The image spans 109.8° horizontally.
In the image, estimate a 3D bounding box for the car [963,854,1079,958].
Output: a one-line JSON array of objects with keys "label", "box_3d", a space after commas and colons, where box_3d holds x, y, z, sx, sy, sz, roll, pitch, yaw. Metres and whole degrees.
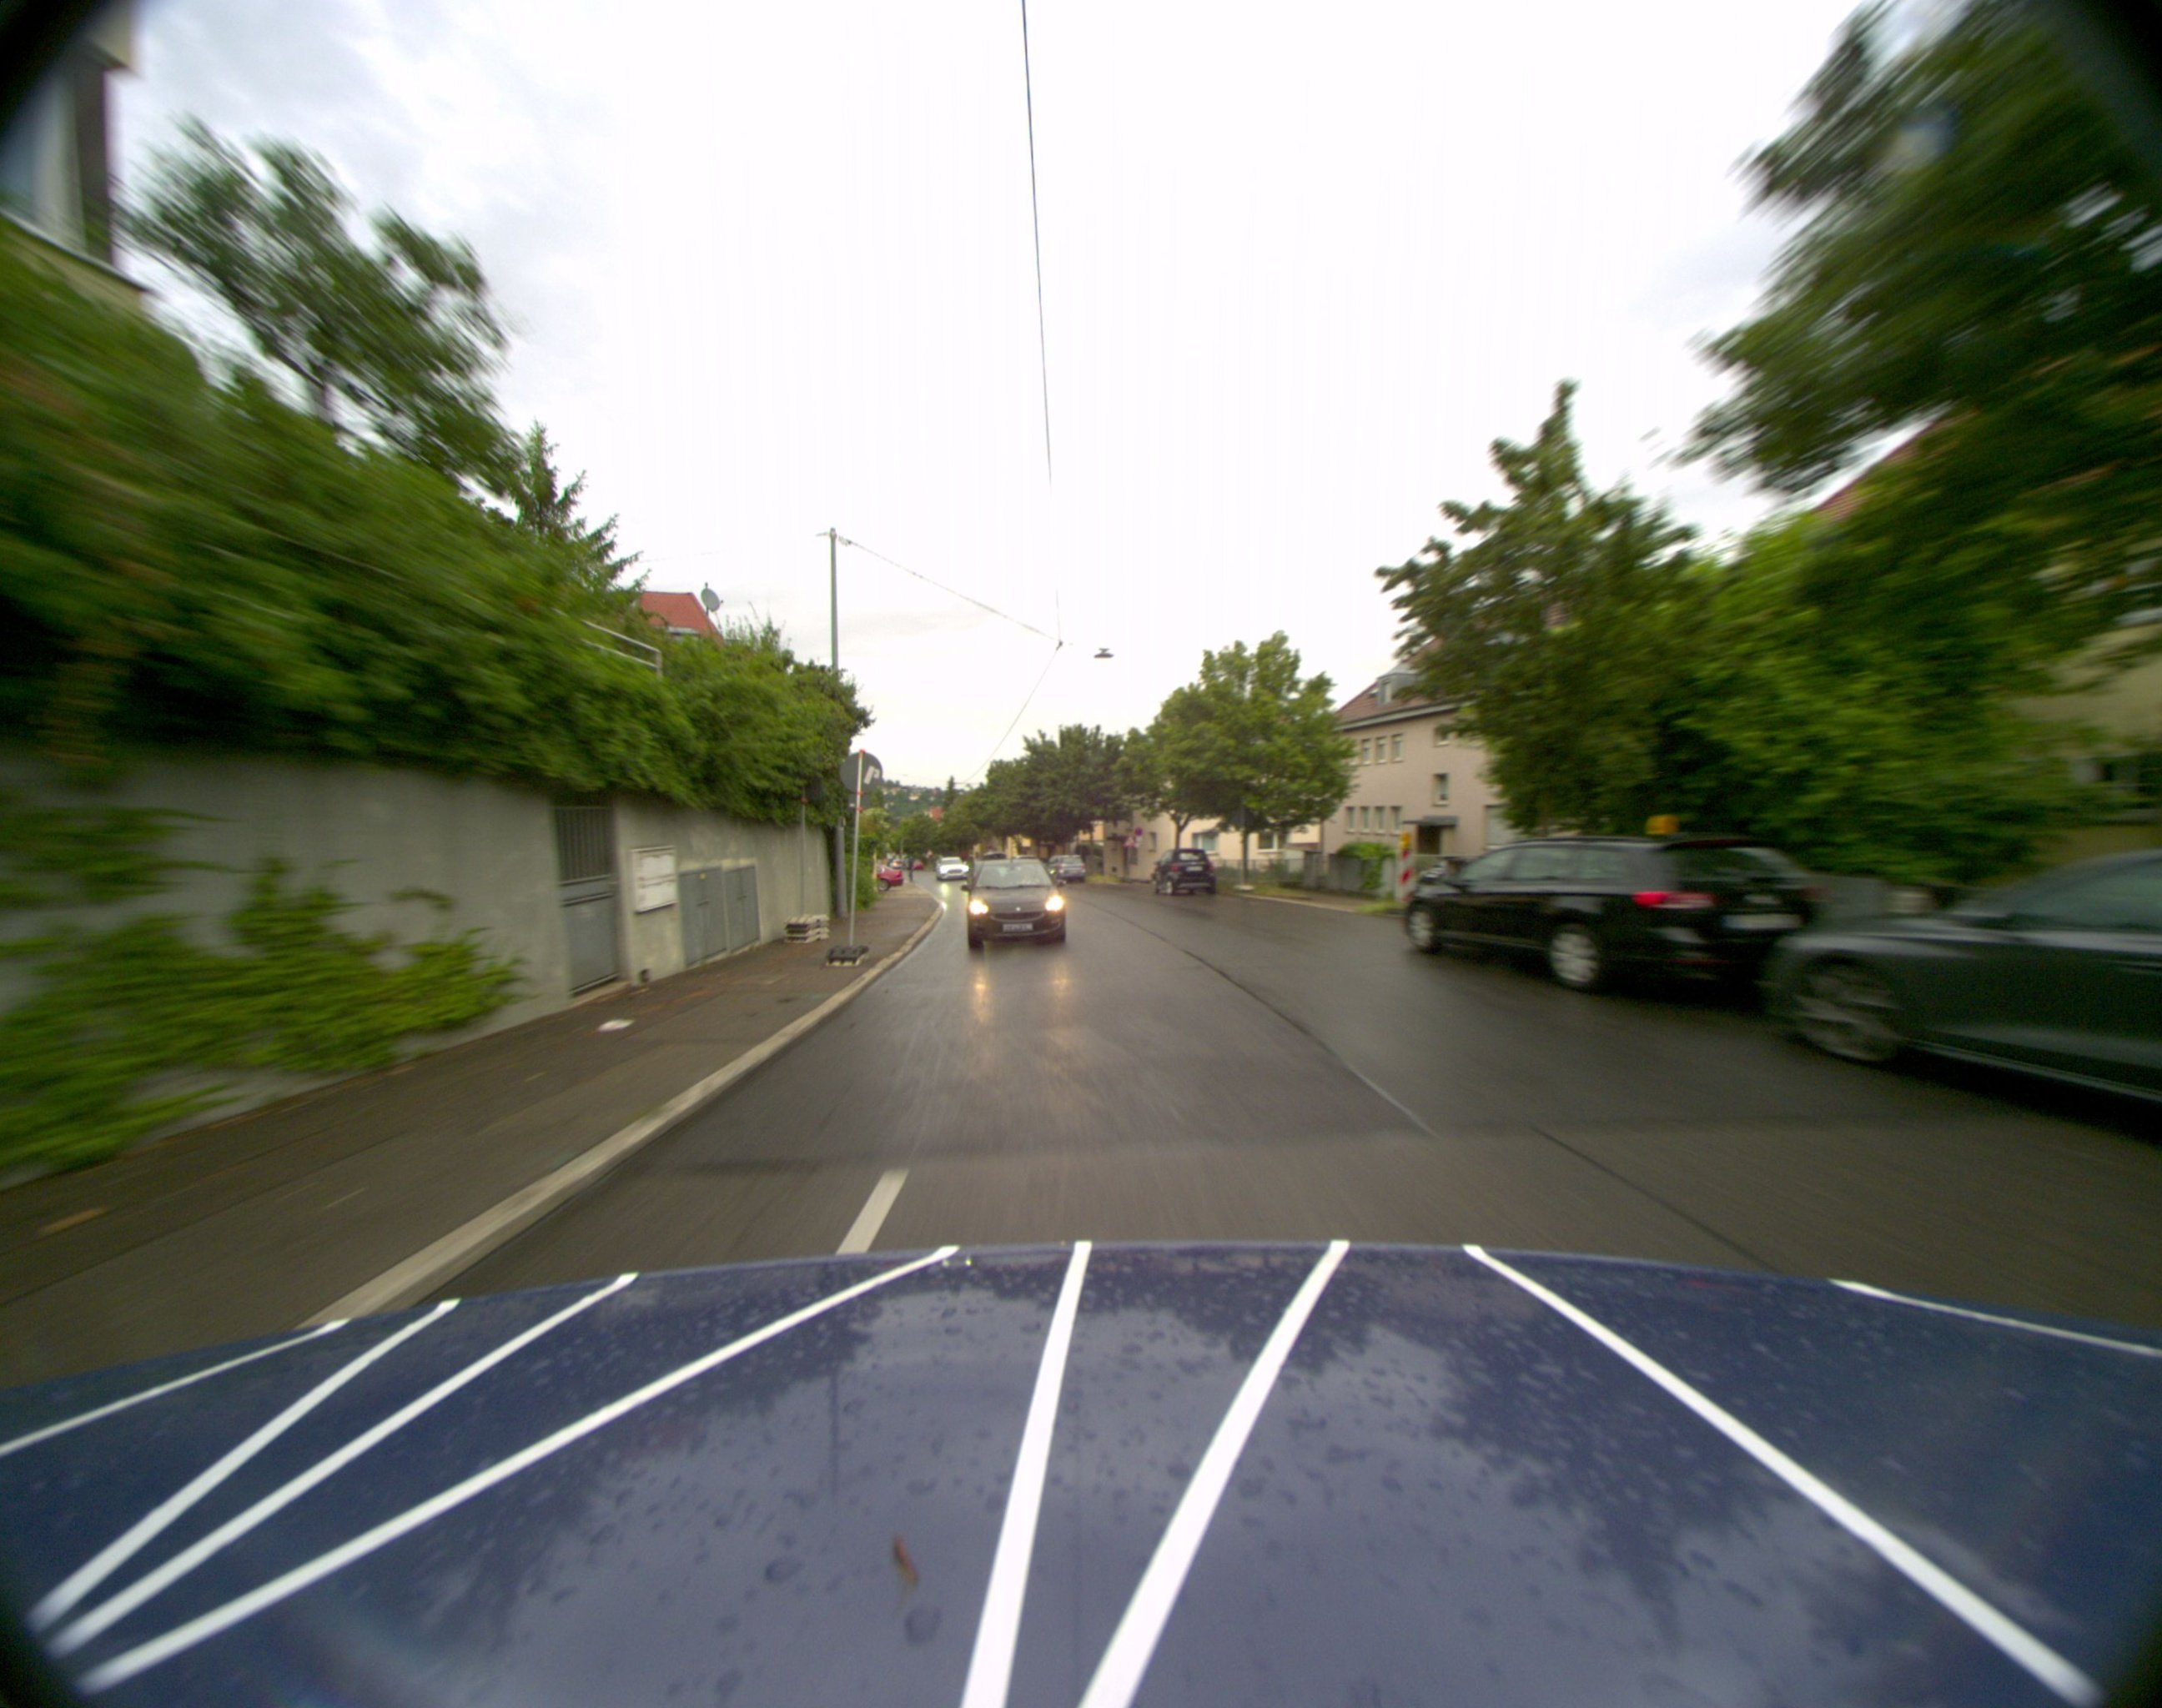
[{"label": "car", "box_3d": [-1.252, 0.824, 14.303, 1.747, 1.434, 4.355, -4, 2, -8]}]

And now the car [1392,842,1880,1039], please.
[{"label": "car", "box_3d": [5.322, 0.645, 8.242, 1.737, 1.475, 4.527, -2, 1, -4]}]

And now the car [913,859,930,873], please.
[{"label": "car", "box_3d": [-22.778, 1.706, 108.650, 2.000, 2.002, 3.997, -1, 0, -8]}]

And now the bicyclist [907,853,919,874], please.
[{"label": "bicyclist", "box_3d": [-13.042, 0.731, 58.956, 0.686, 1.529, 0.783, -5, 2, -18]}]

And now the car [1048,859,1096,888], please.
[{"label": "car", "box_3d": [-0.581, 1.074, 43.832, 1.724, 1.537, 4.288, 0, 0, -16]}]

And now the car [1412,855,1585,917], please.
[{"label": "car", "box_3d": [11.893, 0.886, 21.794, 3.930, 1.353, 1.826, 5, 1, -7]}]

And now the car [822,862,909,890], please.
[{"label": "car", "box_3d": [-10.980, 1.103, 38.965, 4.185, 1.398, 1.832, 0, 0, -11]}]

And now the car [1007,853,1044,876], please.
[{"label": "car", "box_3d": [-4.081, 0.735, 55.009, 1.815, 1.604, 4.503, 0, 0, -15]}]

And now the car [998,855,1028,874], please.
[{"label": "car", "box_3d": [-5.508, 0.811, 60.866, 1.624, 1.433, 4.261, 0, 0, -16]}]

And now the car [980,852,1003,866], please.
[{"label": "car", "box_3d": [-8.640, 0.457, 73.389, 1.545, 1.365, 3.534, 0, 0, -17]}]

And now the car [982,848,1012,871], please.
[{"label": "car", "box_3d": [-7.572, 0.447, 68.156, 1.825, 2.000, 4.555, 0, 0, -17]}]

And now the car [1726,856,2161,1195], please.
[{"label": "car", "box_3d": [5.545, 0.770, 3.276, 1.711, 1.374, 4.529, -2, 1, 1]}]

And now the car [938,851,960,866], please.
[{"label": "car", "box_3d": [-15.347, 0.481, 88.385, 1.912, 1.591, 4.082, -2, 1, -18]}]

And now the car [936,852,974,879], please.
[{"label": "car", "box_3d": [-9.221, 0.823, 55.458, 2.021, 1.728, 4.592, -4, 1, -18]}]

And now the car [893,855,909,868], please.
[{"label": "car", "box_3d": [-29.362, 1.249, 123.955, 2.002, 2.002, 3.993, -2, 0, -19]}]

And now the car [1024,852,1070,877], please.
[{"label": "car", "box_3d": [-2.282, 0.662, 49.680, 1.828, 1.500, 4.732, -3, 0, -17]}]

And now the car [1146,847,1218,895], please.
[{"label": "car", "box_3d": [3.418, 0.554, 26.167, 1.523, 1.526, 3.033, -1, 1, -11]}]

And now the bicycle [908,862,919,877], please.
[{"label": "bicycle", "box_3d": [-13.007, 1.193, 58.929, 0.591, 1.093, 1.526, -4, 2, -18]}]
